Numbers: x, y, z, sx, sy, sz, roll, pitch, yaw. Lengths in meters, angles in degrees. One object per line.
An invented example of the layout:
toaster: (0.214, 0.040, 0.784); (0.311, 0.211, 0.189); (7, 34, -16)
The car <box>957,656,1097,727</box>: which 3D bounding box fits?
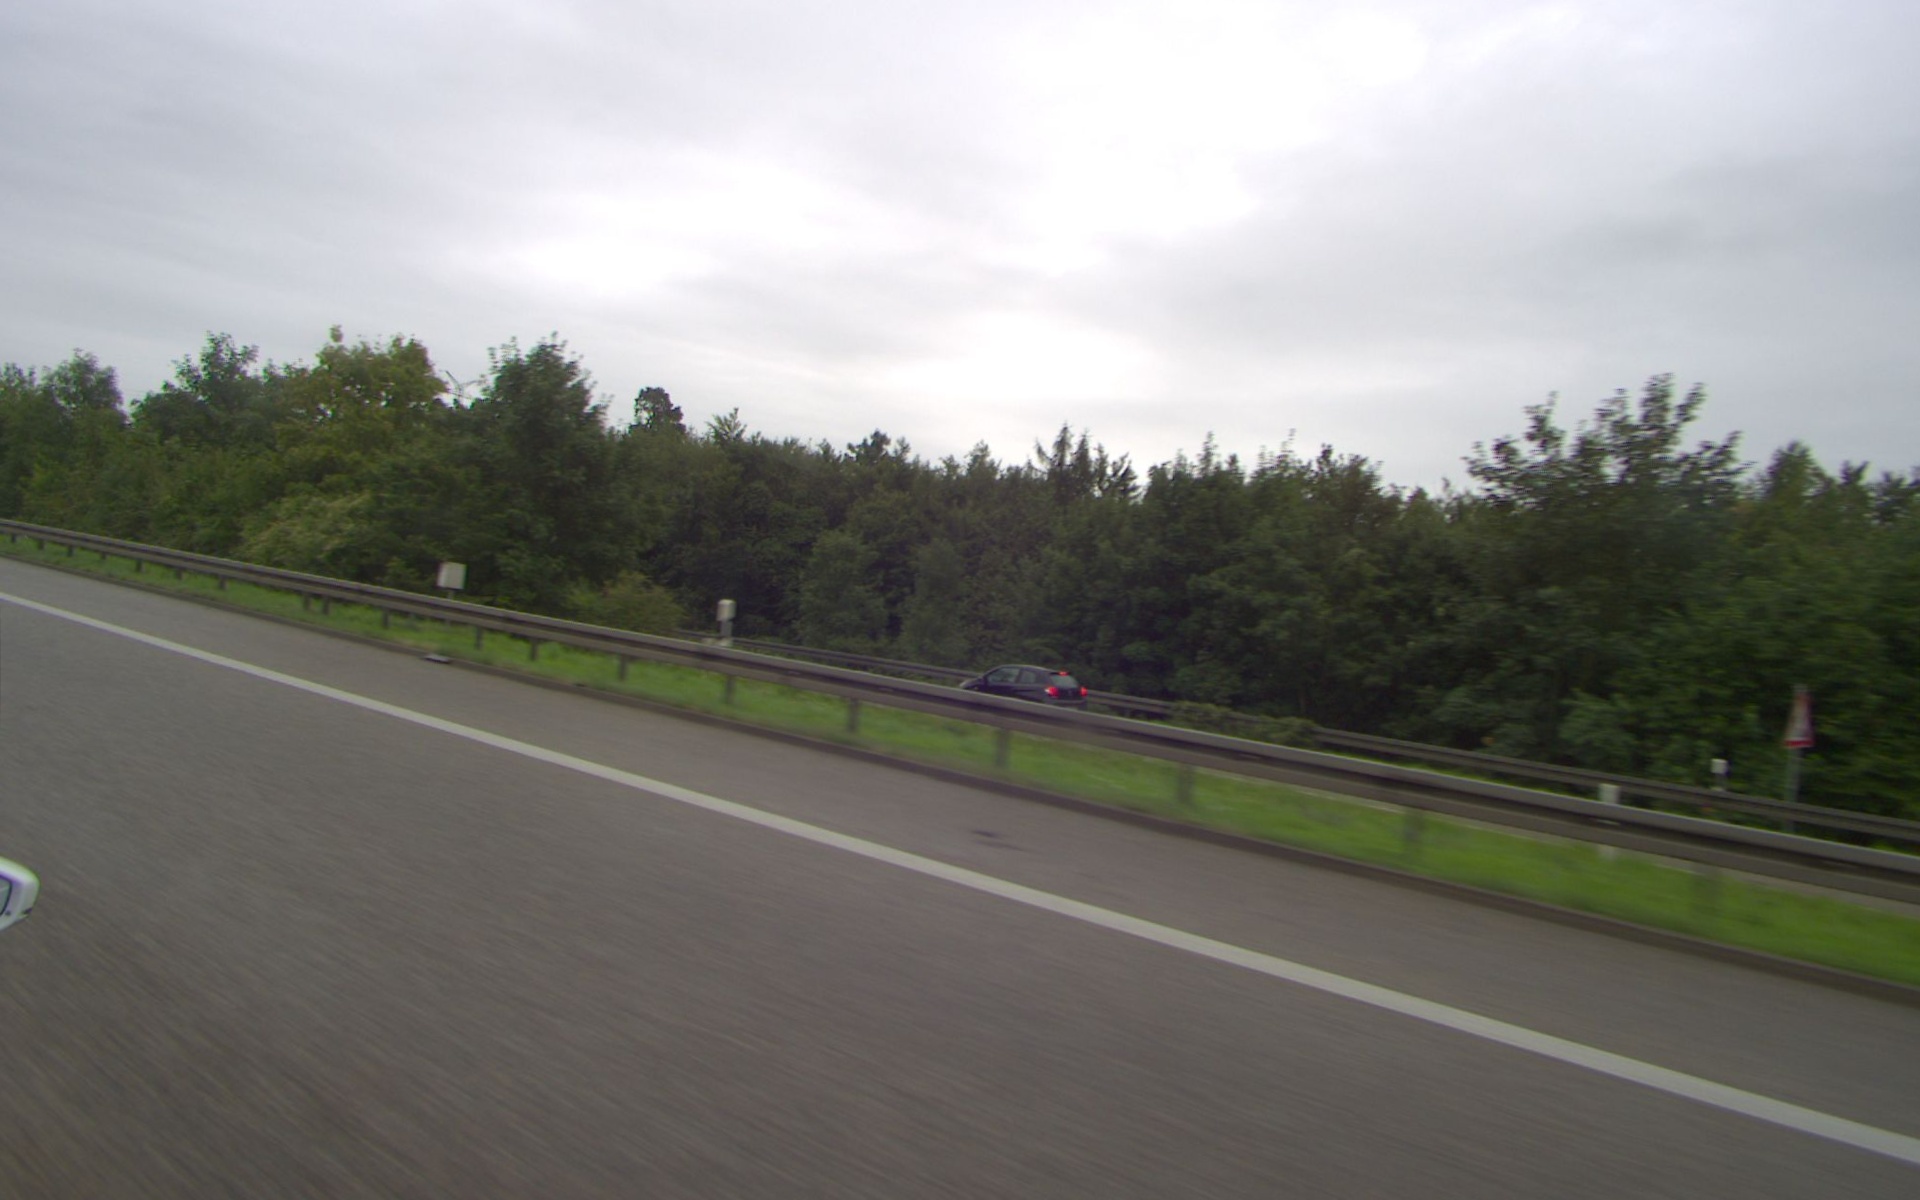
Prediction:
car: (1.623, 2.254, 24.944); (3.110, 1.281, 1.565); (6, -1, 45)
